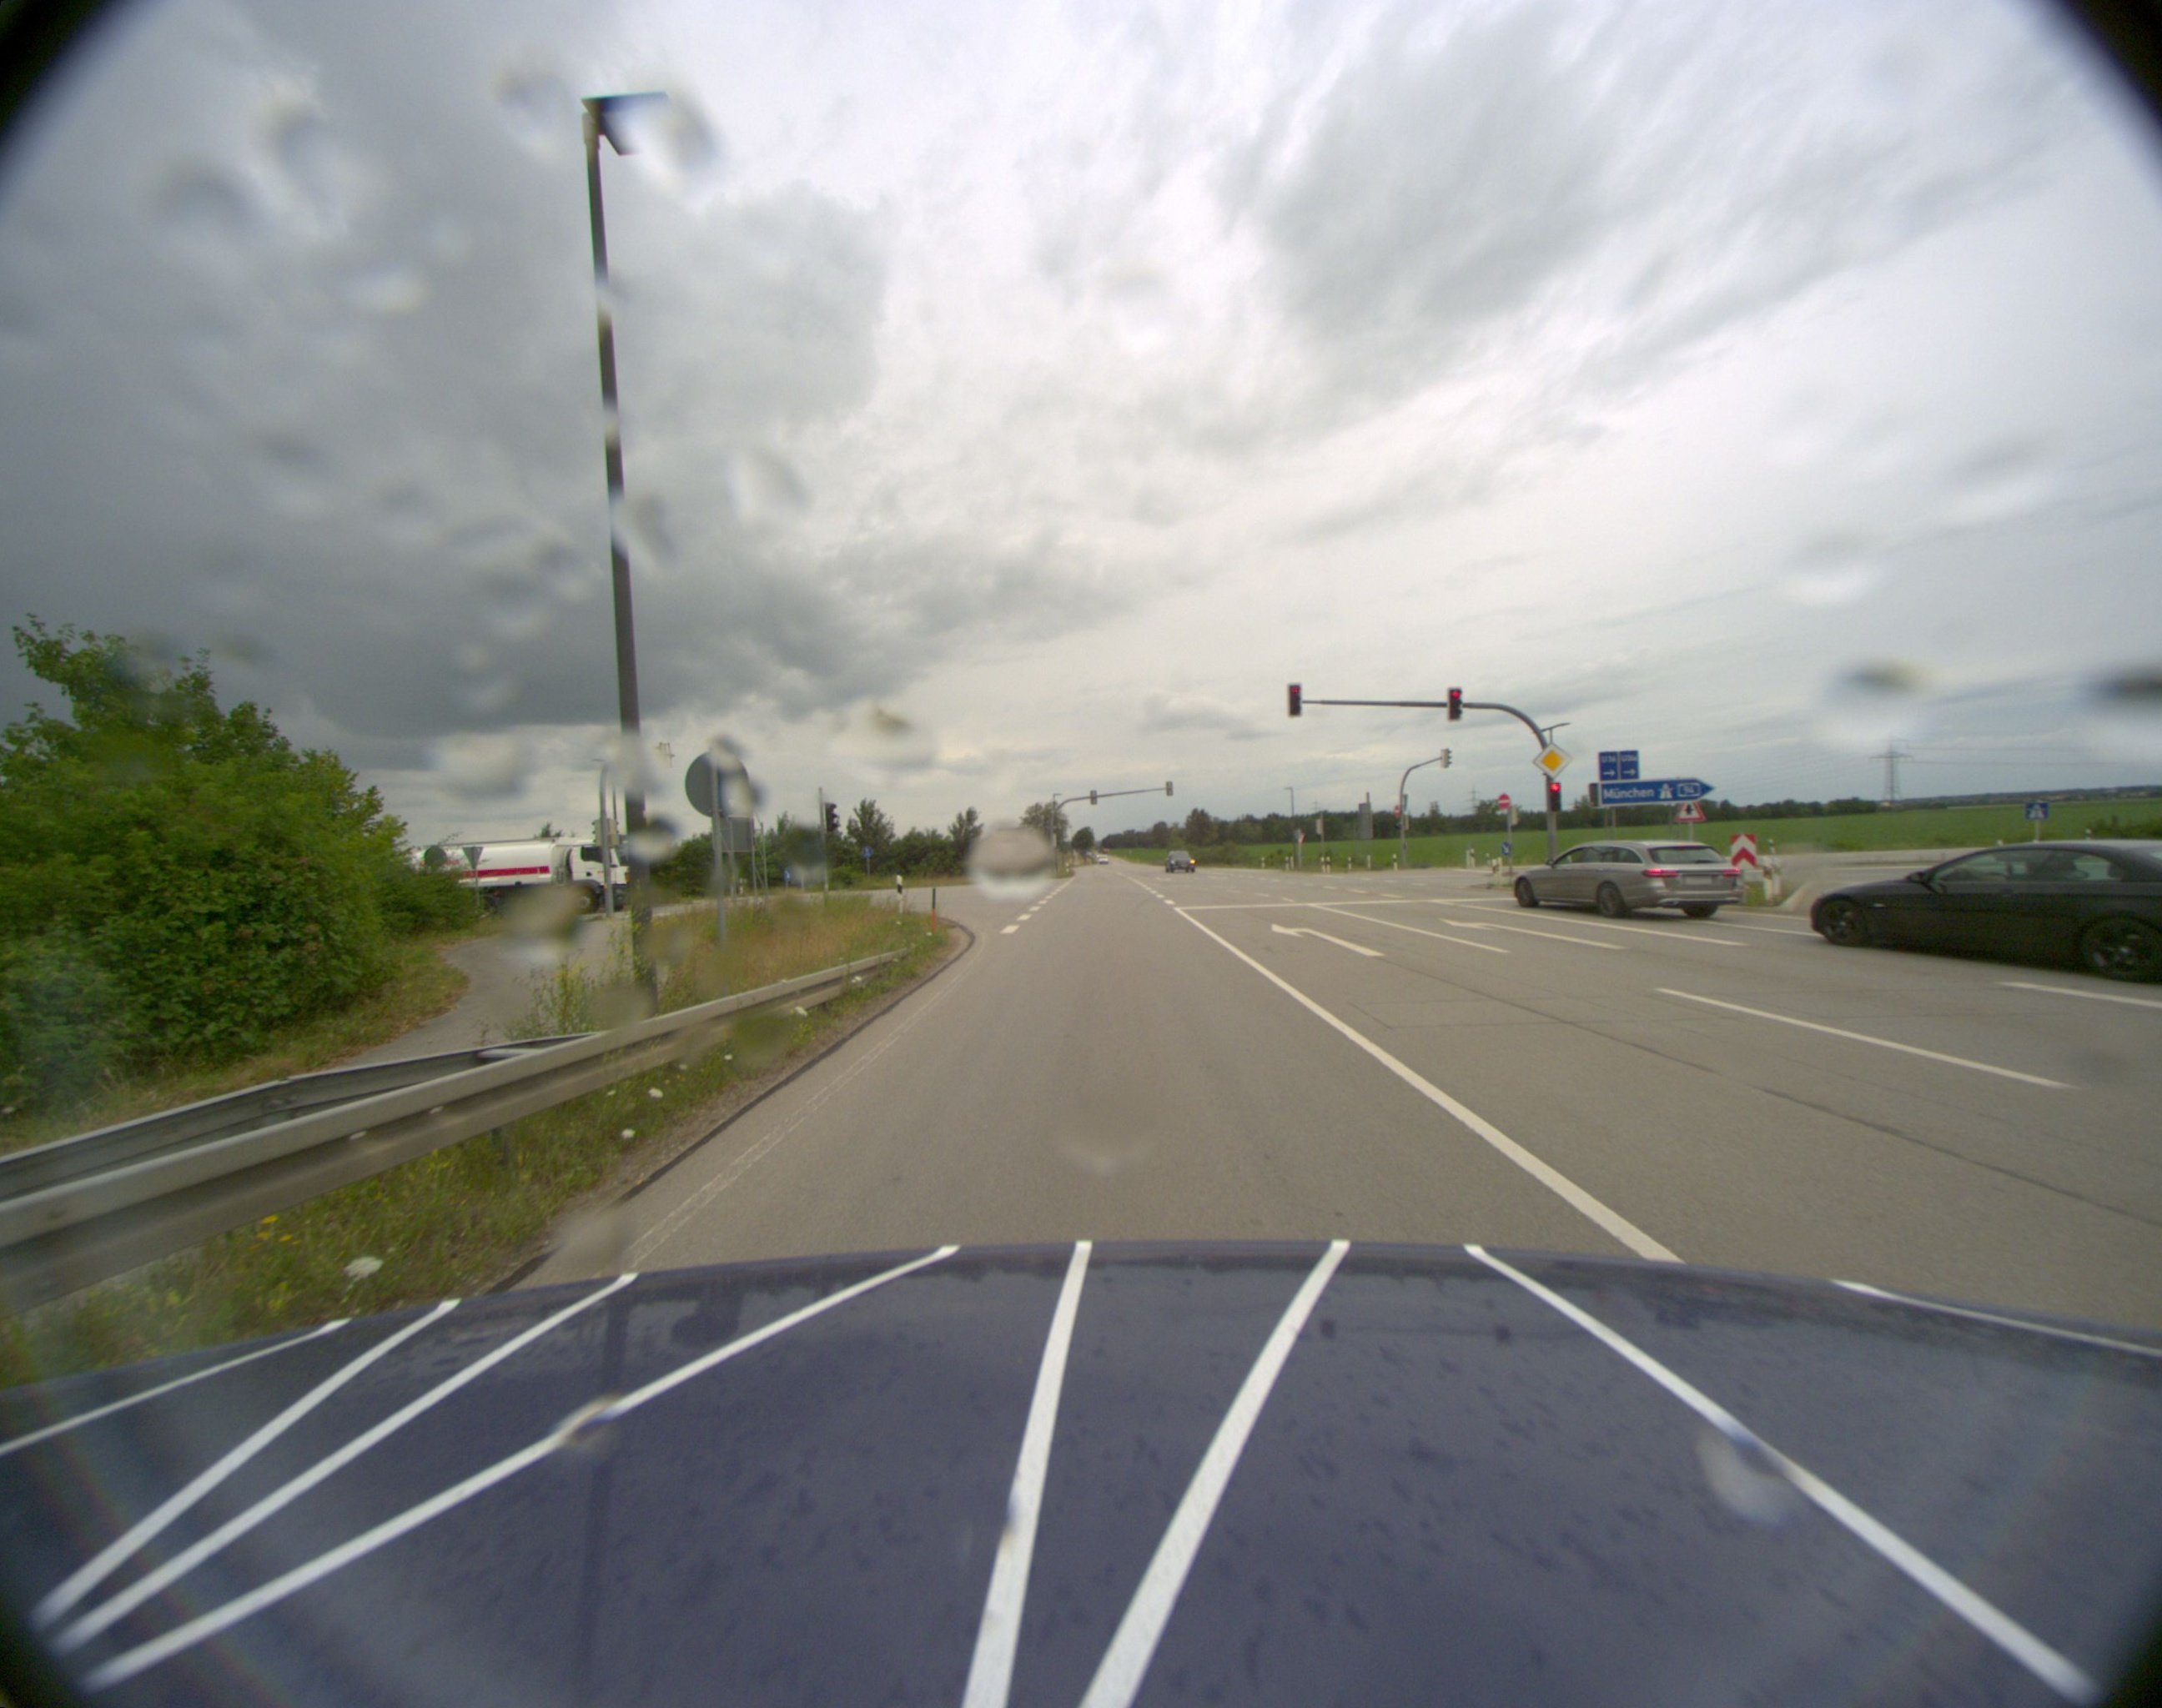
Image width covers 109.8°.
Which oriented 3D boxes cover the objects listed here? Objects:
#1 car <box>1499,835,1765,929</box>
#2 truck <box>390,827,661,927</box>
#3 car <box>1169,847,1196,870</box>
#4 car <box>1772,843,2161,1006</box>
[{"bbox_3d":[10.924,0.474,15.659,1.919,1.601,4.948,-1,0,0],"label":"car"},{"bbox_3d":[-22.621,0.857,31.347,8.646,3.389,2.877,-4,2,-3],"label":"truck"},{"bbox_3d":[8.282,0.341,62.527,1.998,1.674,5.001,-2,0,6],"label":"car"},{"bbox_3d":[10.687,0.621,8.474,1.711,1.402,4.673,-2,1,0],"label":"car"}]
